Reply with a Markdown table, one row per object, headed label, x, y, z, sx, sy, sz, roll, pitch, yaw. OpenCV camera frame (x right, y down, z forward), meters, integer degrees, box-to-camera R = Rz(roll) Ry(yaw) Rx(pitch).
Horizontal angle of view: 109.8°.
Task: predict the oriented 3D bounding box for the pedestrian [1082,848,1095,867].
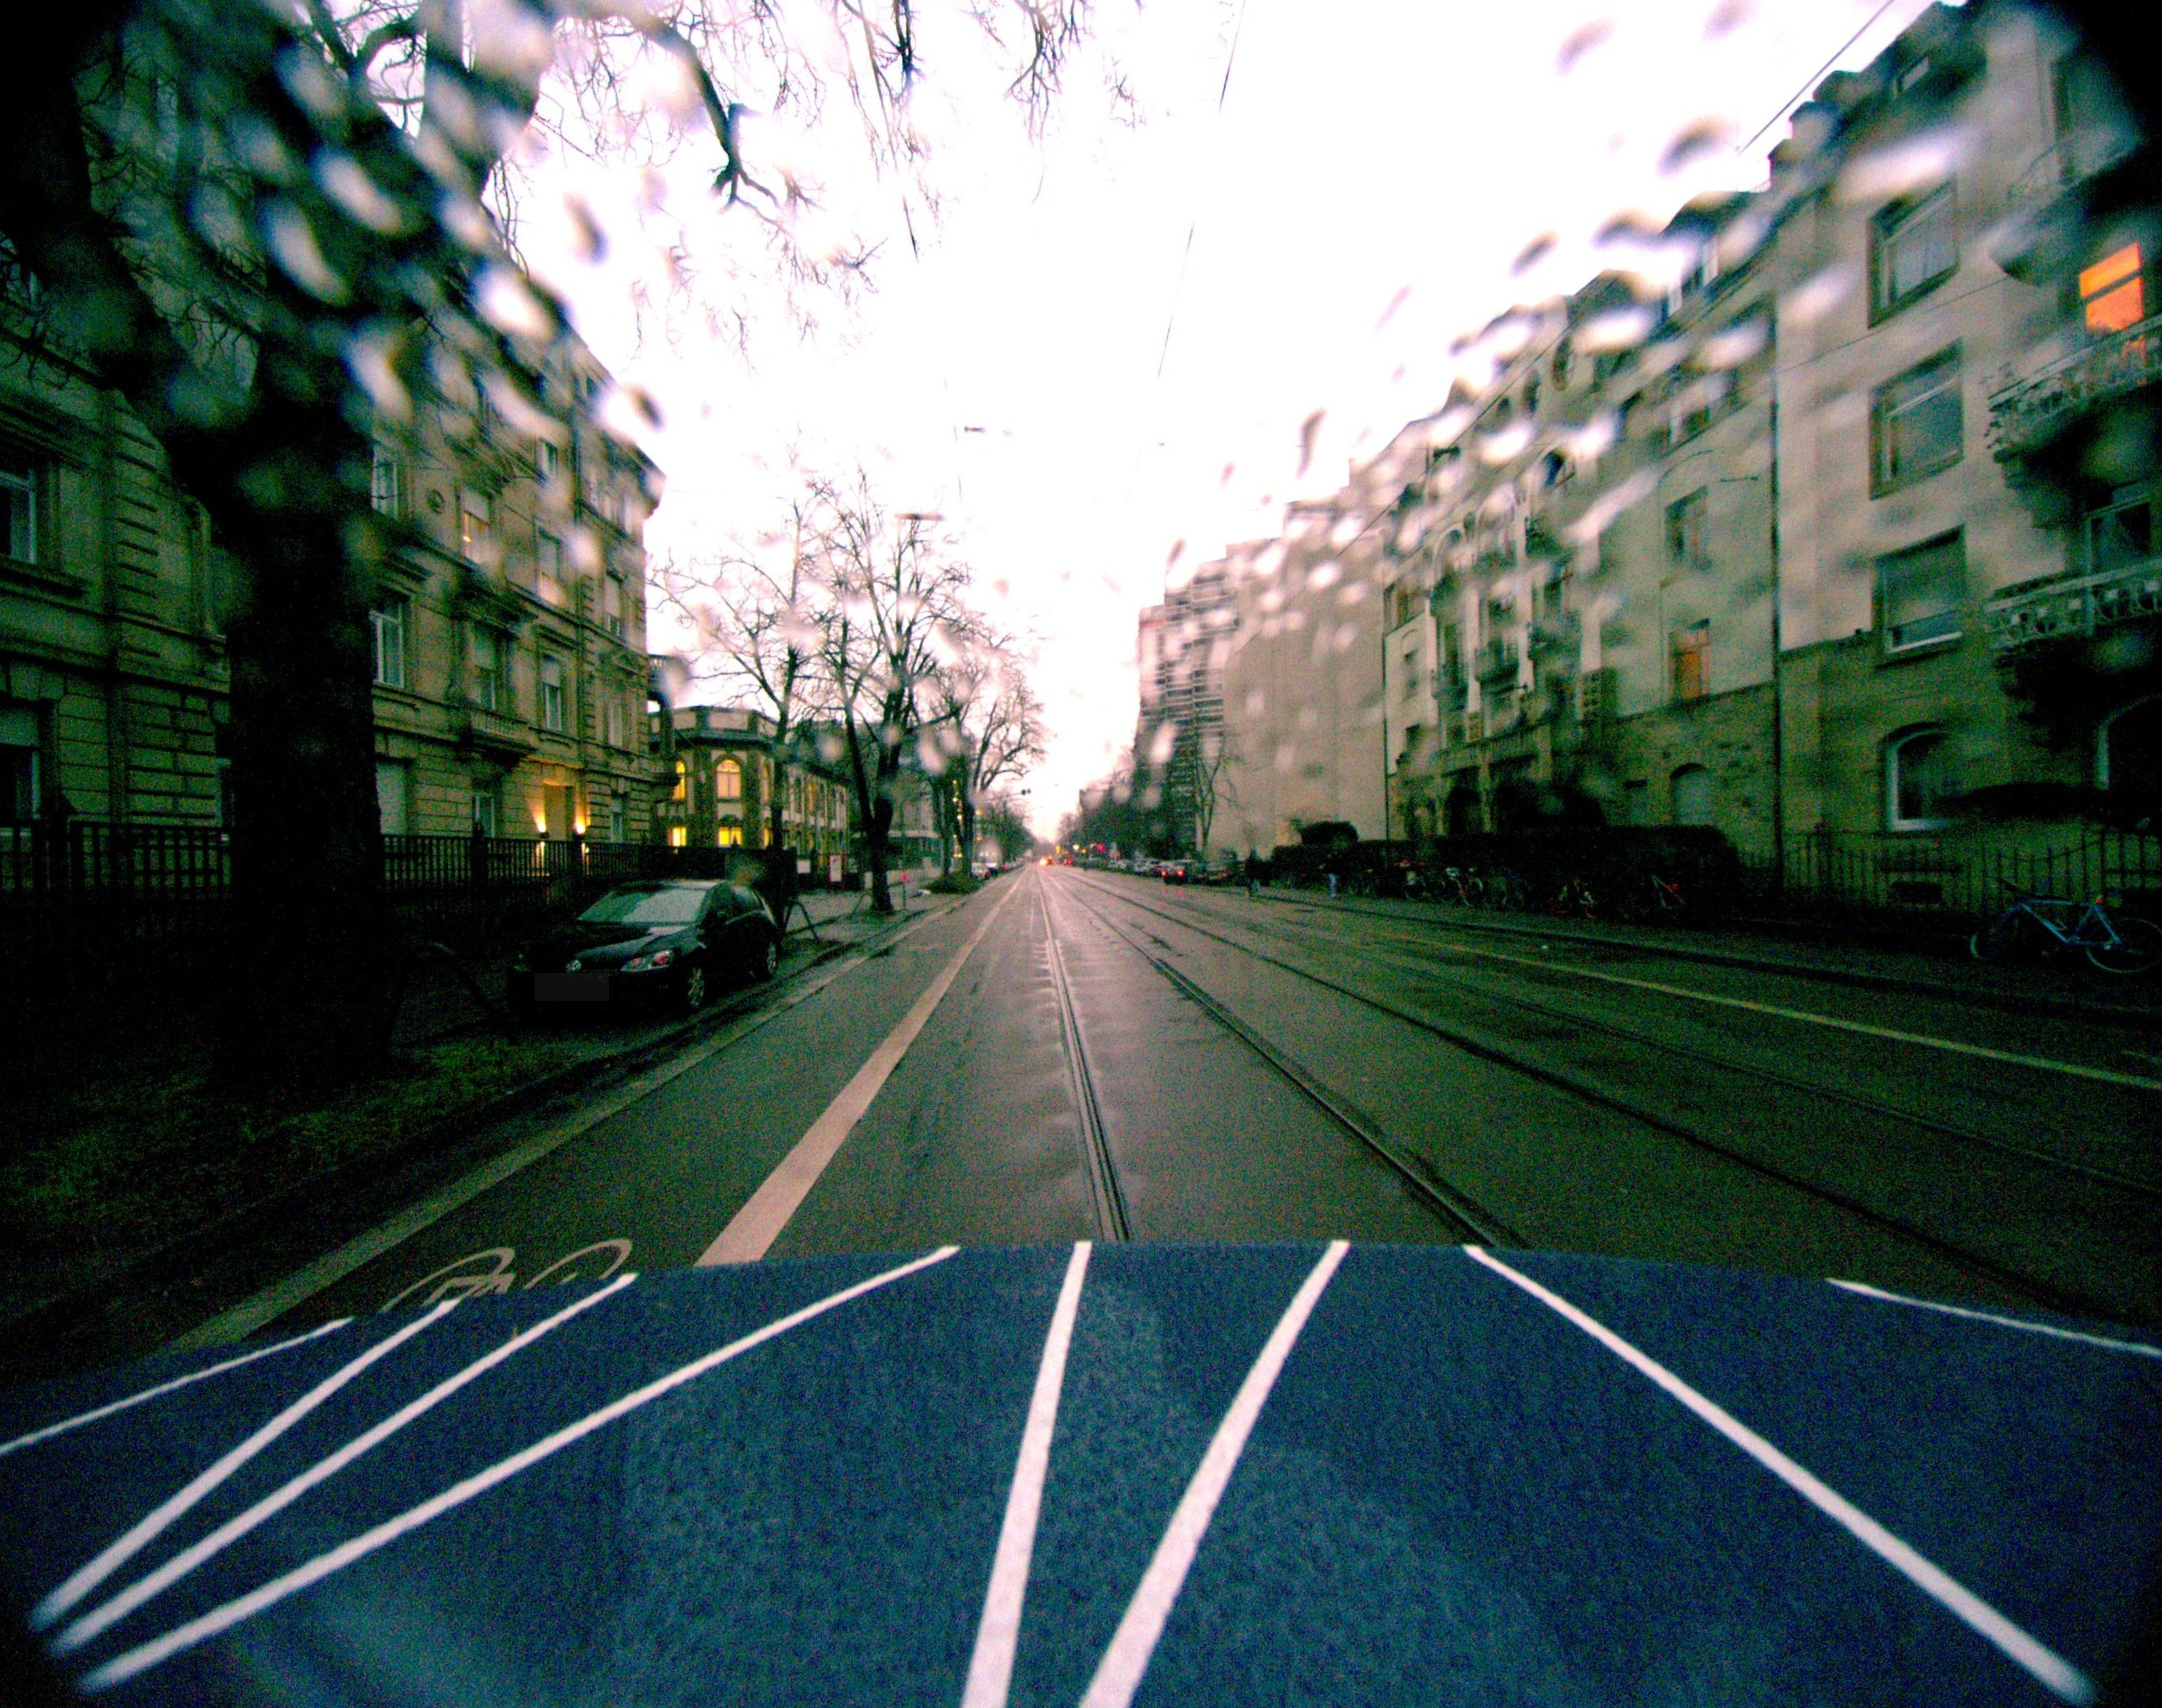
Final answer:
| label | x | y | z | sx | sy | sz | roll | pitch | yaw |
| --- | --- | --- | --- | --- | --- | --- | --- | --- | --- |
| pedestrian | 0.912 | 0.393 | 91.443 | 1.121 | 2.246 | 0.950 | -3 | 2 | -44 |

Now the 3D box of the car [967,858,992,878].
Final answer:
| label | x | y | z | sx | sy | sz | roll | pitch | yaw |
| --- | --- | --- | --- | --- | --- | --- | --- | --- | --- |
| car | -8.950 | 1.206 | 67.142 | 2.000 | 1.672 | 3.997 | -2 | 1 | -6 |

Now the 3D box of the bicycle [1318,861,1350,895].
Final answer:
| label | x | y | z | sx | sy | sz | roll | pitch | yaw |
| --- | --- | --- | --- | --- | --- | --- | --- | --- | --- |
| bicycle | 9.490 | 0.885 | 28.588 | 0.625 | 1.205 | 1.662 | -1 | 0 | -1 |

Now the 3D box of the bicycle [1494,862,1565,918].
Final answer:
| label | x | y | z | sx | sy | sz | roll | pitch | yaw |
| --- | --- | --- | --- | --- | --- | --- | --- | --- | --- |
| bicycle | 10.279 | 0.800 | 17.480 | 0.625 | 1.205 | 1.662 | -1 | 0 | -1 |

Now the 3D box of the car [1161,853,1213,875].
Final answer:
| label | x | y | z | sx | sy | sz | roll | pitch | yaw |
| --- | --- | --- | --- | --- | --- | --- | --- | --- | --- |
| car | 8.450 | 0.778 | 60.566 | 4.008 | 1.586 | 1.864 | -2 | 0 | -40 |

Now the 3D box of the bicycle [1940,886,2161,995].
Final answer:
| label | x | y | z | sx | sy | sz | roll | pitch | yaw |
| --- | --- | --- | --- | --- | --- | --- | --- | --- | --- |
| bicycle | 10.730 | 0.895 | 8.375 | 0.625 | 0.997 | 1.662 | -1 | 0 | -1 |

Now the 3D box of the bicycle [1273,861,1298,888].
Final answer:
| label | x | y | z | sx | sy | sz | roll | pitch | yaw |
| --- | --- | --- | --- | --- | --- | --- | --- | --- | --- |
| bicycle | 9.080 | 0.906 | 33.780 | 0.625 | 1.157 | 1.662 | -2 | 0 | -1 |

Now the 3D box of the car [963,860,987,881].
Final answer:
| label | x | y | z | sx | sy | sz | roll | pitch | yaw |
| --- | --- | --- | --- | --- | --- | --- | --- | --- | --- |
| car | -7.969 | 1.212 | 57.177 | 1.628 | 1.399 | 3.997 | -2 | 1 | -6 |

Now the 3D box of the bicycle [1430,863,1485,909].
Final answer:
| label | x | y | z | sx | sy | sz | roll | pitch | yaw |
| --- | --- | --- | --- | --- | --- | --- | --- | --- | --- |
| bicycle | 9.984 | 0.820 | 20.204 | 0.625 | 1.157 | 1.662 | -1 | 0 | -1 |

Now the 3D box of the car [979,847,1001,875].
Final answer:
| label | x | y | z | sx | sy | sz | roll | pitch | yaw |
| --- | --- | --- | --- | --- | --- | --- | --- | --- | --- |
| car | -9.195 | 0.644 | 77.089 | 2.094 | 2.622 | 5.446 | -2 | 1 | -6 |

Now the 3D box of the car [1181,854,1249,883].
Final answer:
| label | x | y | z | sx | sy | sz | roll | pitch | yaw |
| --- | --- | --- | --- | --- | --- | --- | --- | --- | --- |
| car | 8.156 | 0.851 | 46.029 | 4.008 | 1.586 | 1.864 | -2 | 0 | -40 |

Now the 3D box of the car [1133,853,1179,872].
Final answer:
| label | x | y | z | sx | sy | sz | roll | pitch | yaw |
| --- | --- | --- | --- | --- | --- | --- | --- | --- | --- |
| car | 6.871 | 0.793 | 69.566 | 4.008 | 1.586 | 1.864 | -2 | 0 | -40 |

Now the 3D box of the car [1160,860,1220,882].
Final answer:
| label | x | y | z | sx | sy | sz | roll | pitch | yaw |
| --- | --- | --- | --- | --- | --- | --- | --- | --- | --- |
| car | 6.835 | 1.047 | 47.449 | 3.673 | 1.245 | 1.707 | 0 | 0 | -41 |

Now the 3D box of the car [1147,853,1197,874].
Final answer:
| label | x | y | z | sx | sy | sz | roll | pitch | yaw |
| --- | --- | --- | --- | --- | --- | --- | --- | --- | --- |
| car | 7.568 | 0.757 | 63.109 | 4.008 | 1.586 | 1.864 | -2 | 0 | -40 |

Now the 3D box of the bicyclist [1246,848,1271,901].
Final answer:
| label | x | y | z | sx | sy | sz | roll | pitch | yaw |
| --- | --- | --- | --- | --- | --- | --- | --- | --- | --- |
| bicyclist | 6.440 | 0.724 | 27.543 | 0.625 | 1.865 | 0.991 | -1 | 0 | -1 |

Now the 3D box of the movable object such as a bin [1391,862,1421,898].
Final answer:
| label | x | y | z | sx | sy | sz | roll | pitch | yaw |
| --- | --- | --- | --- | --- | --- | --- | --- | --- | --- |
| movable object such as a bin | 10.555 | 0.839 | 24.666 | 0.659 | 1.157 | 0.674 | -1 | 0 | -1 |

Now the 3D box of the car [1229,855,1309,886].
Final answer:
| label | x | y | z | sx | sy | sz | roll | pitch | yaw |
| --- | --- | --- | --- | --- | --- | --- | --- | --- | --- |
| car | 10.072 | 0.880 | 40.719 | 4.006 | 1.485 | 1.864 | -2 | 0 | -32 |

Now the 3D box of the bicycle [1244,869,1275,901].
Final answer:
| label | x | y | z | sx | sy | sz | roll | pitch | yaw |
| --- | --- | --- | --- | --- | --- | --- | --- | --- | --- |
| bicycle | 6.457 | 1.113 | 27.620 | 0.625 | 1.086 | 1.947 | -1 | 0 | -1 |

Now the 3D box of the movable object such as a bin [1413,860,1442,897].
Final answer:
| label | x | y | z | sx | sy | sz | roll | pitch | yaw |
| --- | --- | --- | --- | --- | --- | --- | --- | --- | --- |
| movable object such as a bin | 11.237 | 0.780 | 24.676 | 0.625 | 1.157 | 0.674 | -1 | 0 | -1 |

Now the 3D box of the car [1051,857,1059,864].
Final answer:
| label | x | y | z | sx | sy | sz | roll | pitch | yaw |
| --- | --- | --- | --- | --- | --- | --- | --- | --- | --- |
| car | -7.584 | 1.943 | 220.292 | 2.239 | 2.002 | 4.458 | -2 | 1 | -5 |

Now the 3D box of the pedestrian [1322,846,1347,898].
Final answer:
| label | x | y | z | sx | sy | sz | roll | pitch | yaw |
| --- | --- | --- | --- | --- | --- | --- | --- | --- | --- |
| pedestrian | 8.695 | 0.611 | 26.067 | 0.574 | 1.715 | 0.644 | -3 | 2 | 1 |

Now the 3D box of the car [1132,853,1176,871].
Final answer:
| label | x | y | z | sx | sy | sz | roll | pitch | yaw |
| --- | --- | --- | --- | --- | --- | --- | --- | --- | --- |
| car | 6.962 | 0.770 | 72.638 | 4.008 | 1.586 | 1.864 | -2 | 0 | -40 |

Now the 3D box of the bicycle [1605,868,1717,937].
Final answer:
| label | x | y | z | sx | sy | sz | roll | pitch | yaw |
| --- | --- | --- | --- | --- | --- | --- | --- | --- | --- |
| bicycle | 10.433 | 0.839 | 13.750 | 0.625 | 1.119 | 1.783 | -1 | 0 | -1 |

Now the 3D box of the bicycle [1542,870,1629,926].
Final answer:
| label | x | y | z | sx | sy | sz | roll | pitch | yaw |
| --- | --- | --- | --- | --- | --- | --- | --- | --- | --- |
| bicycle | 10.391 | 0.884 | 15.717 | 0.625 | 1.059 | 1.726 | -1 | 0 | -1 |

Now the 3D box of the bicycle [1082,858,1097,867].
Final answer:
| label | x | y | z | sx | sy | sz | roll | pitch | yaw |
| --- | --- | --- | --- | --- | --- | --- | --- | --- | --- |
| bicycle | 1.000 | 0.980 | 91.522 | 0.856 | 0.986 | 1.922 | -1 | 1 | 32 |

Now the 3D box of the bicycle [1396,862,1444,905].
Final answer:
| label | x | y | z | sx | sy | sz | roll | pitch | yaw |
| --- | --- | --- | --- | --- | --- | --- | --- | --- | --- |
| bicycle | 9.927 | 0.845 | 22.291 | 0.625 | 1.205 | 1.662 | -1 | 0 | -1 |

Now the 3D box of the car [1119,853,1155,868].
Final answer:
| label | x | y | z | sx | sy | sz | roll | pitch | yaw |
| --- | --- | --- | --- | --- | --- | --- | --- | --- | --- |
| car | 6.629 | 0.781 | 89.273 | 4.008 | 1.586 | 1.864 | -2 | 0 | -40 |

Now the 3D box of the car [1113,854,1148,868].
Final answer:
| label | x | y | z | sx | sy | sz | roll | pitch | yaw |
| --- | --- | --- | --- | --- | --- | --- | --- | --- | --- |
| car | 5.973 | 0.803 | 91.297 | 4.008 | 1.586 | 1.864 | -2 | 0 | -40 |

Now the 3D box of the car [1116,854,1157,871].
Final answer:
| label | x | y | z | sx | sy | sz | roll | pitch | yaw |
| --- | --- | --- | --- | --- | --- | --- | --- | --- | --- |
| car | 5.730 | 0.900 | 77.910 | 4.008 | 1.586 | 1.864 | -2 | 0 | -40 |

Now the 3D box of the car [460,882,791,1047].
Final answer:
| label | x | y | z | sx | sy | sz | roll | pitch | yaw |
| --- | --- | --- | --- | --- | --- | --- | --- | --- | --- |
| car | -5.097 | 1.127 | 9.277 | 1.762 | 1.437 | 4.156 | 1 | -1 | -4 |

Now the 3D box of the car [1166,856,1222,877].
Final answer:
| label | x | y | z | sx | sy | sz | roll | pitch | yaw |
| --- | --- | --- | --- | --- | --- | --- | --- | --- | --- |
| car | 8.423 | 0.940 | 56.597 | 4.008 | 1.440 | 1.864 | -2 | 0 | -40 |

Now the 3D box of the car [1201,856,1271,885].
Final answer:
| label | x | y | z | sx | sy | sz | roll | pitch | yaw |
| --- | --- | --- | --- | --- | --- | --- | --- | --- | --- |
| car | 8.819 | 0.906 | 43.129 | 4.008 | 1.477 | 1.760 | -2 | 0 | -40 |

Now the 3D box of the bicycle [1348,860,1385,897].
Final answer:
| label | x | y | z | sx | sy | sz | roll | pitch | yaw |
| --- | --- | --- | --- | --- | --- | --- | --- | --- | --- |
| bicycle | 9.799 | 0.828 | 26.146 | 0.625 | 1.205 | 1.662 | -1 | 0 | -1 |
